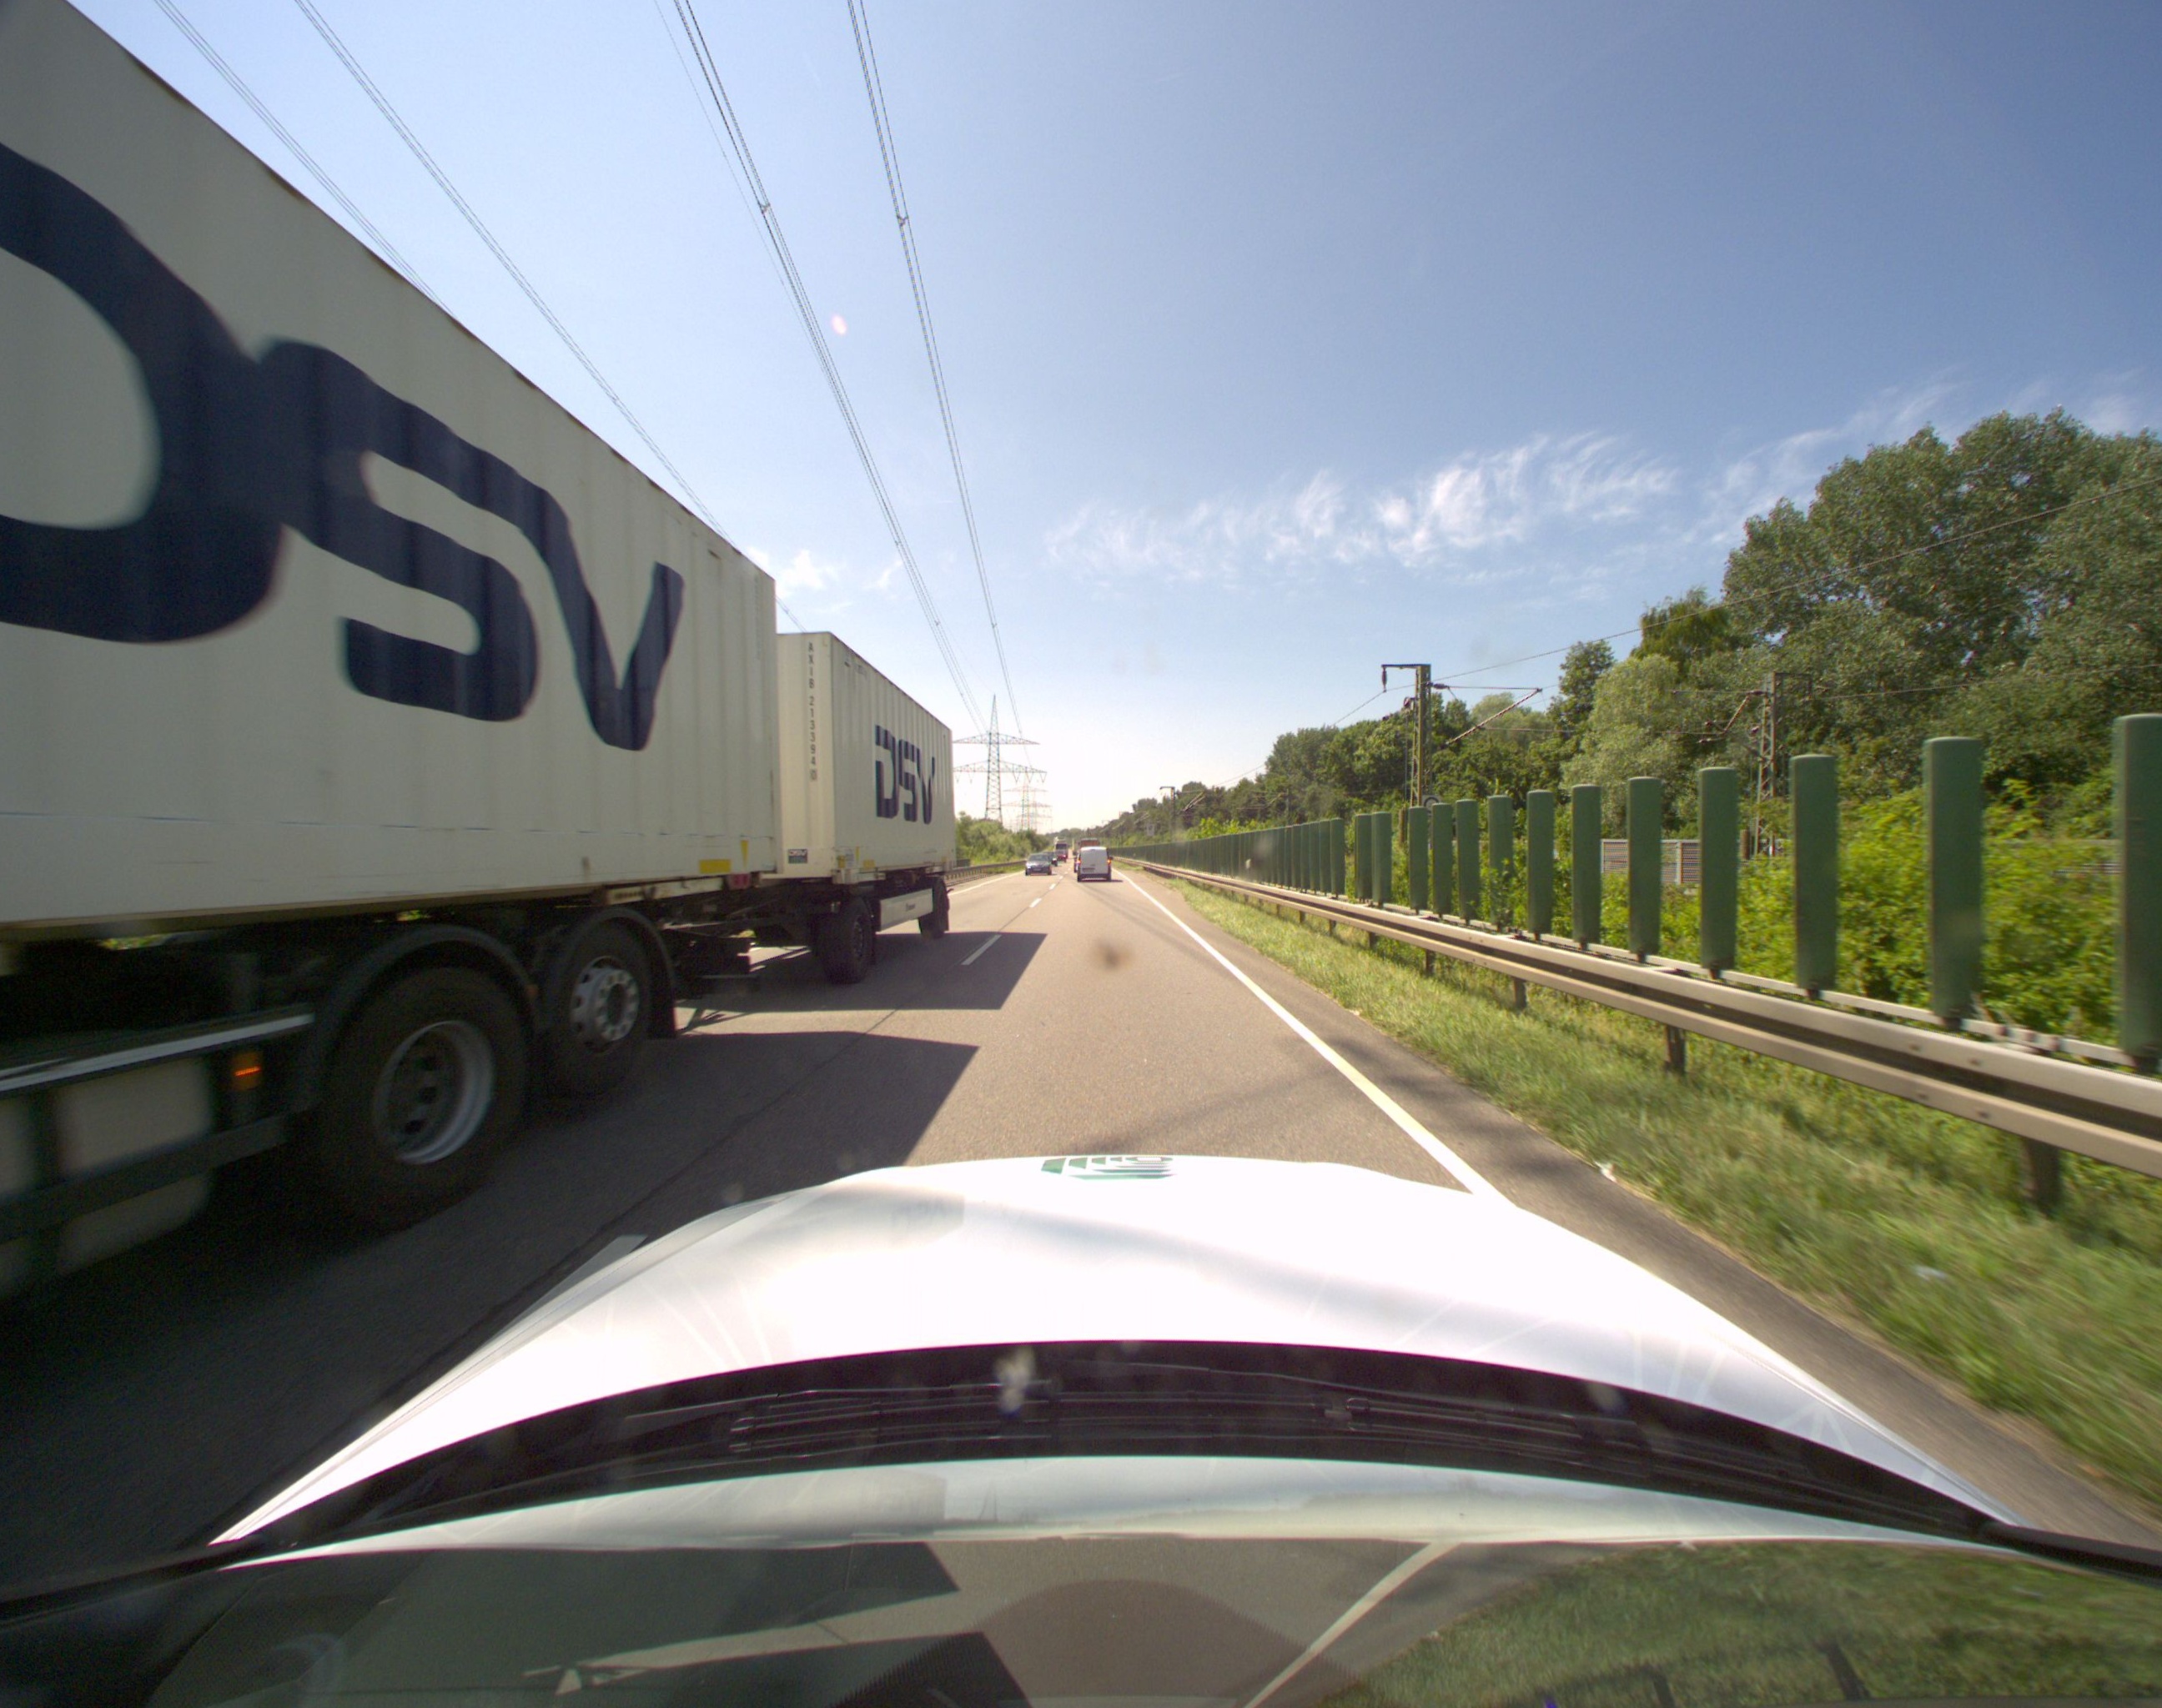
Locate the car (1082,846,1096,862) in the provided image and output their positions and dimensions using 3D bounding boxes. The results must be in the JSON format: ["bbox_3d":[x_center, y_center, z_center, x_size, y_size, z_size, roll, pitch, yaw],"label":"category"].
[{"bbox_3d":[1.006,0.002,104.795,1.757,2.013,4.000,-1,0,0],"label":"car"}]

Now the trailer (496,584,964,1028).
[{"bbox_3d":[-3.910,-0.471,12.094,2.709,4.042,9.077,-2,0,1],"label":"trailer"}]

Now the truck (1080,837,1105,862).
[{"bbox_3d":[1.648,-0.711,116.262,3.285,3.171,14.406,2,1,0],"label":"truck"}]

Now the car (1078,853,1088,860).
[{"bbox_3d":[0.439,0.487,167.449,1.987,1.526,3.999,-1,0,0],"label":"car"}]

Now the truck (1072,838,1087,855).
[{"bbox_3d":[-0.430,-1.973,200.172,3.392,3.854,16.814,2,1,0],"label":"truck"}]

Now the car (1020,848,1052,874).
[{"bbox_3d":[-3.133,0.449,57.562,1.986,1.741,4.001,-1,0,1],"label":"car"}]

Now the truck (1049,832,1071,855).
[{"bbox_3d":[-3.864,-2.078,155.133,3.391,3.854,16.820,2,1,1],"label":"truck"}]

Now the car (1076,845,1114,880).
[{"bbox_3d":[0.696,0.401,42.813,1.869,1.741,3.999,0,0,-1],"label":"car"}]

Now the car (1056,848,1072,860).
[{"bbox_3d":[-2.313,0.024,109.211,1.986,1.526,4.001,-1,0,1],"label":"car"}]

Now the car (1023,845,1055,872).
[{"bbox_3d":[-2.841,0.281,56.189,1.987,1.741,3.999,-1,0,-1],"label":"car"}]

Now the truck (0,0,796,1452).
[{"bbox_3d":[-4.135,-0.475,2.588,2.733,4.042,9.667,-2,0,1],"label":"truck"}]
